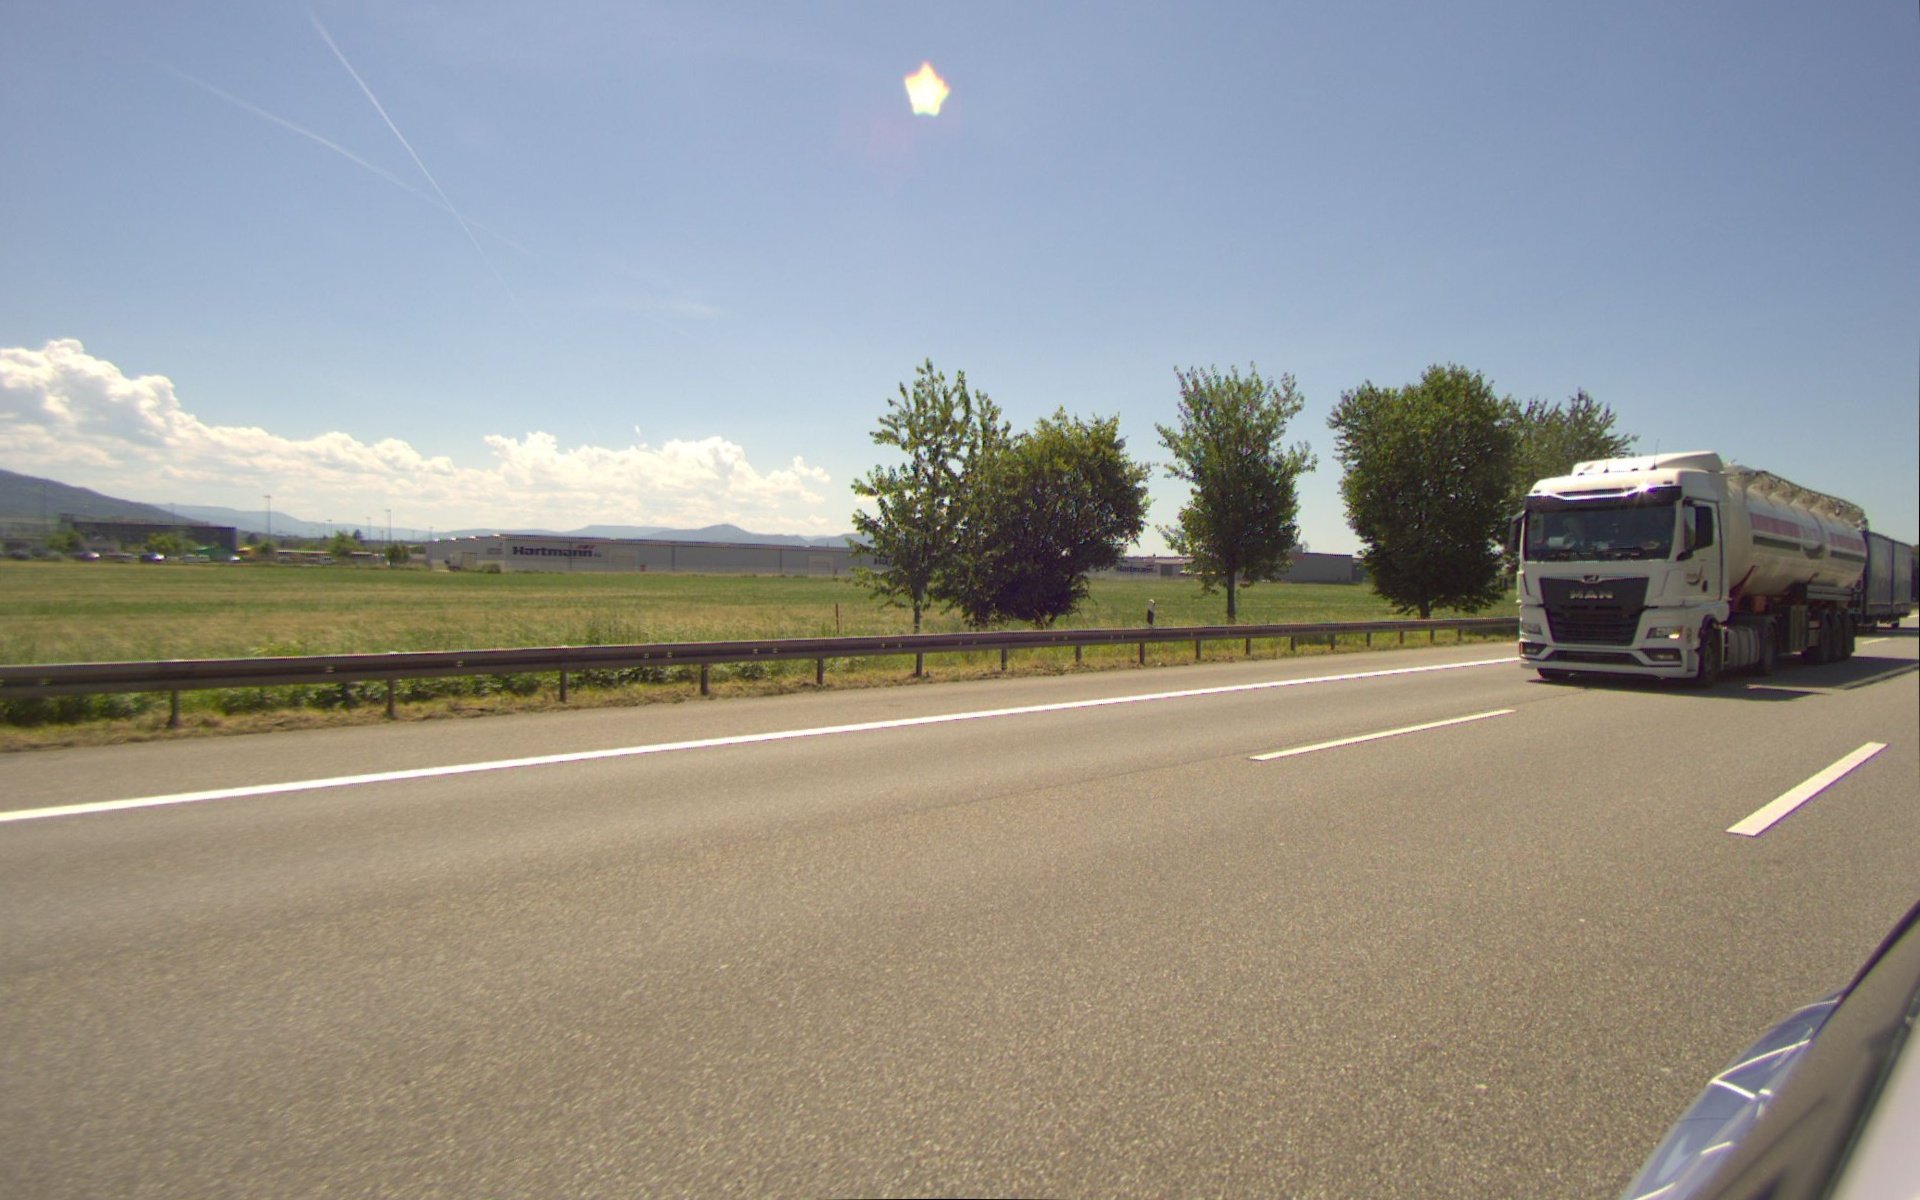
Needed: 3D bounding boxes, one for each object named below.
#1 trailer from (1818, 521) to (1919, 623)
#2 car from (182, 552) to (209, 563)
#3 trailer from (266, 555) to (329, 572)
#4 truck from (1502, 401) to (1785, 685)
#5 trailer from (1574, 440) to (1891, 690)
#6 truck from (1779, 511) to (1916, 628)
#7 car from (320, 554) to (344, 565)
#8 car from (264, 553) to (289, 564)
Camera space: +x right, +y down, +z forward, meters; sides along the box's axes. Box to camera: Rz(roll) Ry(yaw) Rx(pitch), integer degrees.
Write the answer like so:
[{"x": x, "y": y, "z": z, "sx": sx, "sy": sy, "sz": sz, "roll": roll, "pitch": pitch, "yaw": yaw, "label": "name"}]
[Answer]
[{"x": 42.338, "y": -1.229, "z": 46.570, "sx": 10.619, "sy": 4.257, "sz": 2.795, "roll": 0, "pitch": 1, "yaw": -42, "label": "trailer"}, {"x": -140.401, "y": -7.819, "z": 185.860, "sx": 3.924, "sy": 2.039, "sz": 1.875, "roll": 0, "pitch": 1, "yaw": -36, "label": "car"}, {"x": -136.312, "y": -7.470, "z": 208.358, "sx": 10.759, "sy": 3.186, "sz": 2.001, "roll": 0, "pitch": 1, "yaw": -34, "label": "trailer"}, {"x": 12.104, "y": -0.895, "z": 17.822, "sx": 4.910, "sy": 4.257, "sz": 2.797, "roll": 0, "pitch": 1, "yaw": -39, "label": "truck"}, {"x": 17.370, "y": -0.658, "z": 22.182, "sx": 12.132, "sy": 4.257, "sz": 2.797, "roll": 0, "pitch": 1, "yaw": -40, "label": "trailer"}, {"x": 36.603, "y": -1.171, "z": 41.542, "sx": 10.618, "sy": 4.257, "sz": 2.795, "roll": 0, "pitch": 1, "yaw": -41, "label": "truck"}, {"x": -122.791, "y": -7.969, "z": 197.882, "sx": 3.924, "sy": 2.039, "sz": 1.875, "roll": 0, "pitch": 1, "yaw": -36, "label": "car"}, {"x": -130.150, "y": -7.905, "z": 192.634, "sx": 3.924, "sy": 2.039, "sz": 1.875, "roll": 0, "pitch": 1, "yaw": -36, "label": "car"}]
